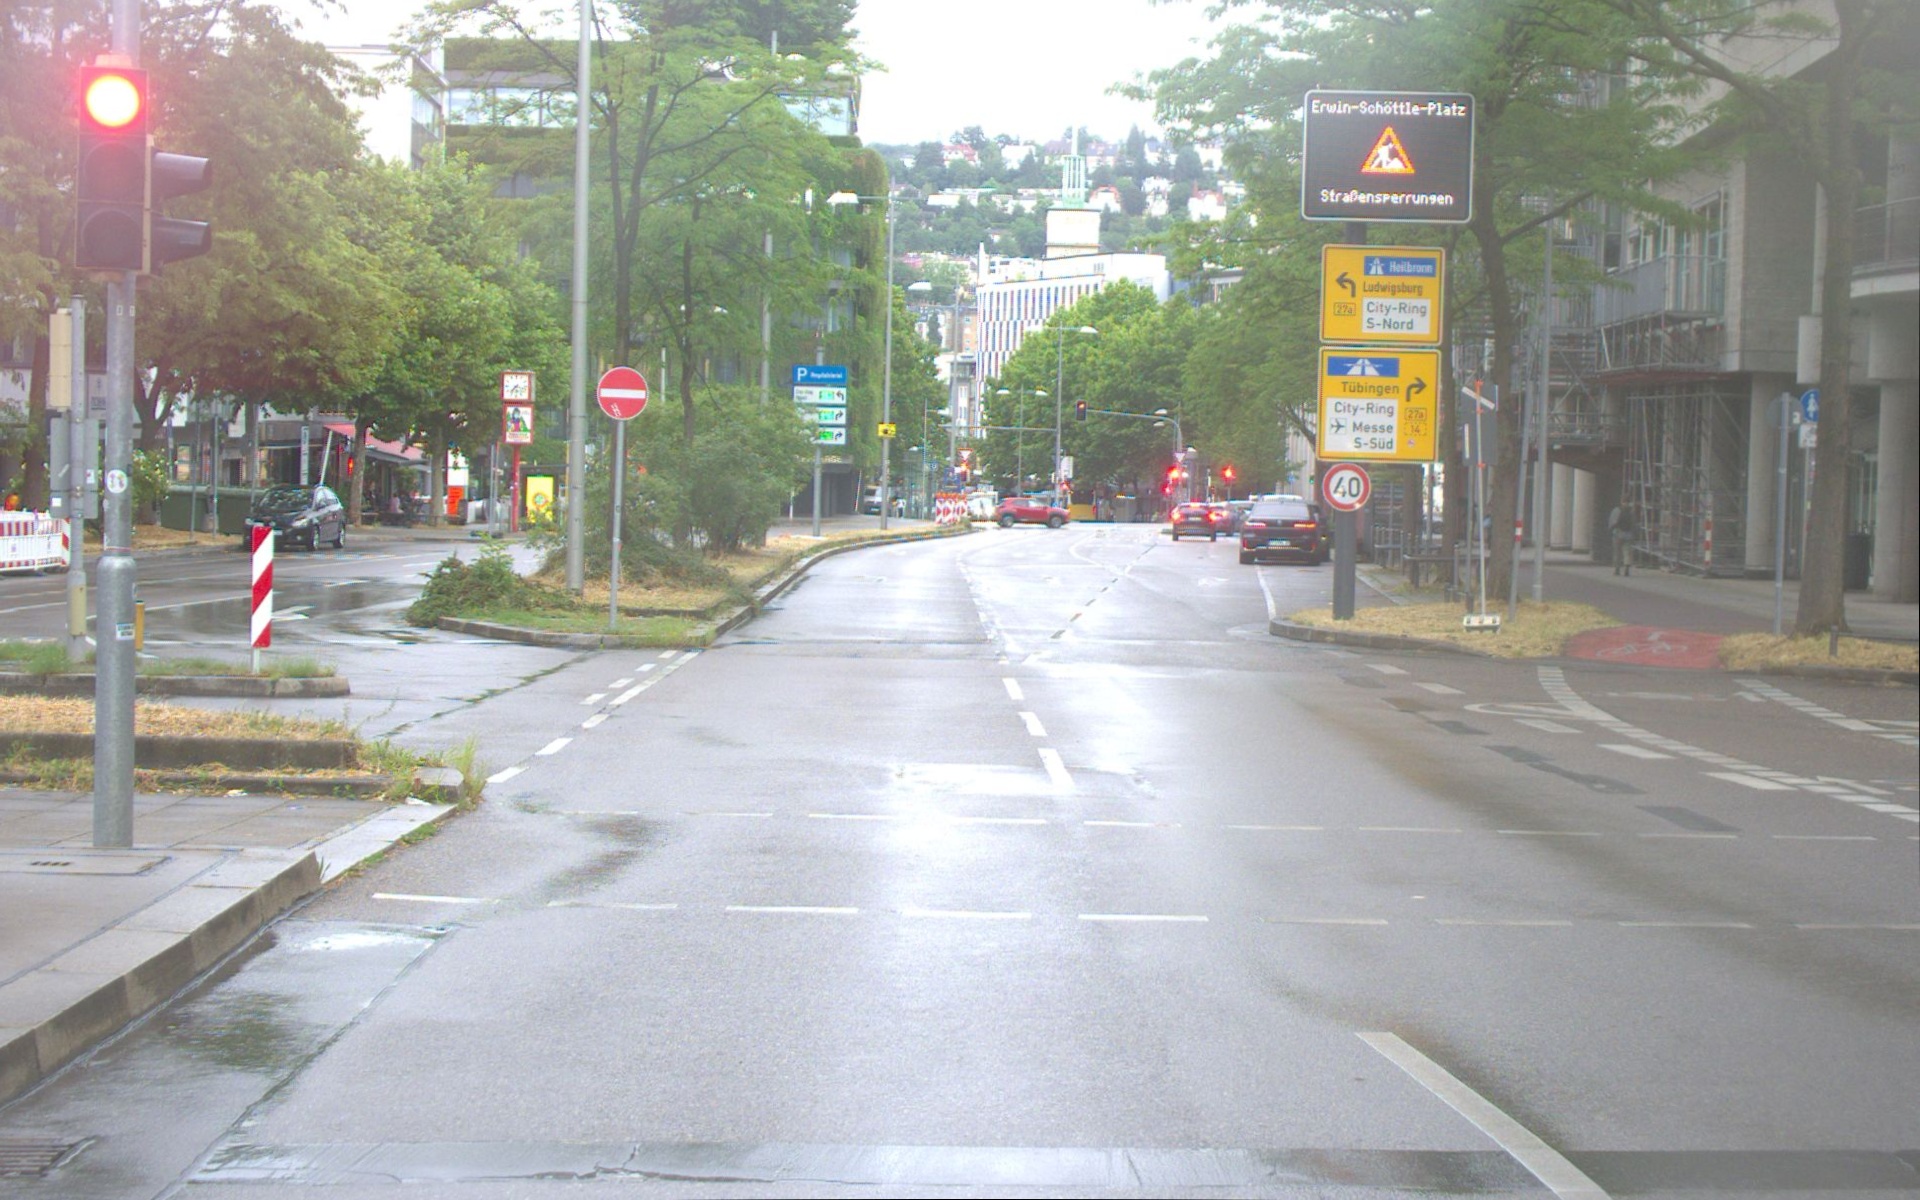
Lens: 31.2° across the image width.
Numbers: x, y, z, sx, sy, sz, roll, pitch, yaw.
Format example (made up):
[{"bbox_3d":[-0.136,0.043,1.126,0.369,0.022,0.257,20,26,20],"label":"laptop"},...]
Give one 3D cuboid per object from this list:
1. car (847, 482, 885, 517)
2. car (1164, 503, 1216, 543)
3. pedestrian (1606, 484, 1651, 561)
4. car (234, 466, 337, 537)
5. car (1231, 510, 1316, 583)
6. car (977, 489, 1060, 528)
[{"bbox_3d":[-6.133,-6.582,225.006,2.128,2.157,5.197,2,1,2],"label":"car"},{"bbox_3d":[9.189,-3.082,137.632,1.746,1.514,4.107,2,1,-1],"label":"car"},{"bbox_3d":[13.851,-1.602,71.269,0.786,1.552,0.533,2,1,4],"label":"pedestrian"},{"bbox_3d":[-16.474,-2.425,84.132,1.780,1.550,3.894,2,3,-1],"label":"car"},{"bbox_3d":[7.673,-1.324,84.384,1.901,1.678,3.910,2,1,4],"label":"car"},{"bbox_3d":[3.075,-4.813,180.983,4.008,1.913,1.886,2,1,-12],"label":"car"}]
